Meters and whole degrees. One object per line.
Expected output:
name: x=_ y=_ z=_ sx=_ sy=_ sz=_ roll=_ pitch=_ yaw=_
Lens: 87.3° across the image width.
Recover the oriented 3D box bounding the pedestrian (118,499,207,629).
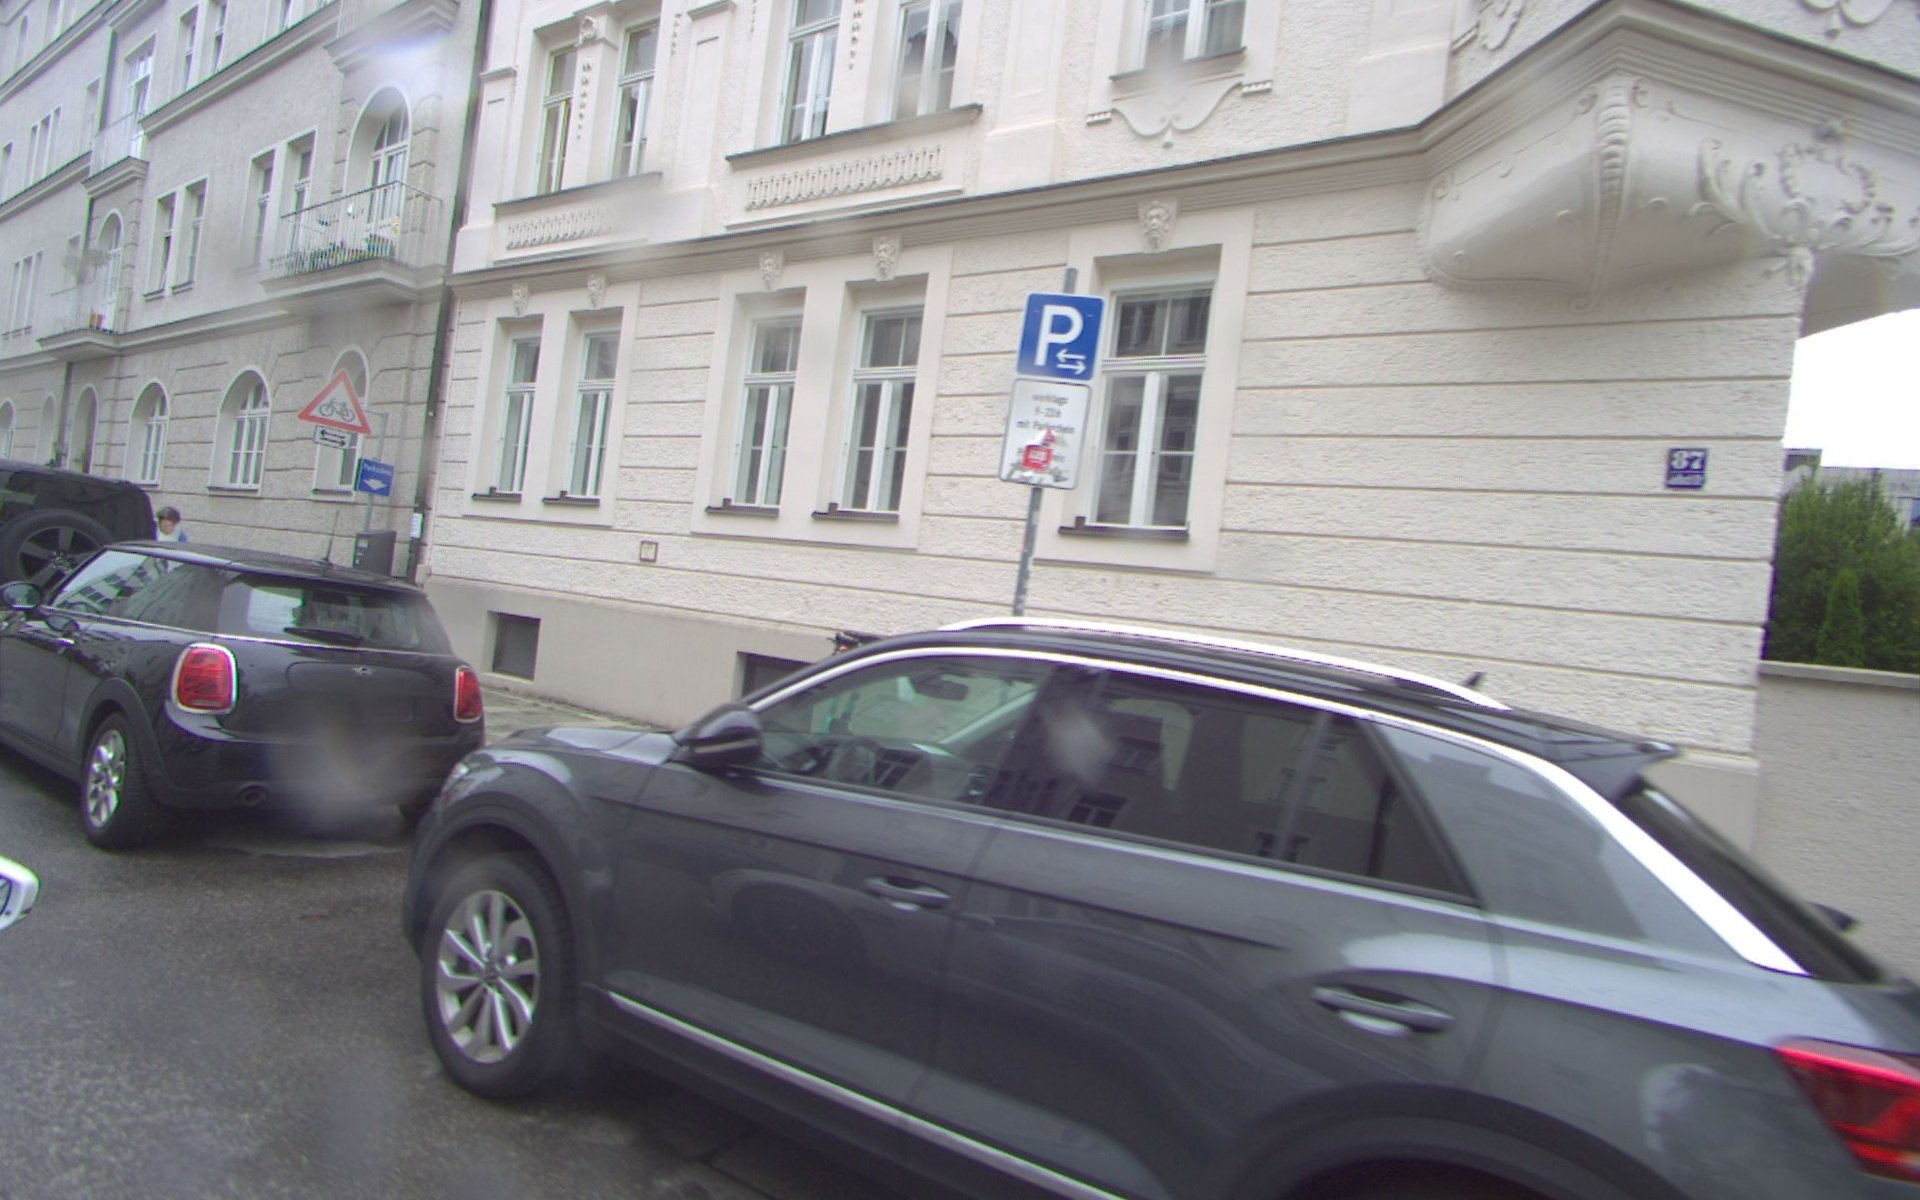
pedestrian: x=-10.931 y=-0.486 z=13.796 sx=0.643 sy=1.696 sz=0.680 roll=7 pitch=2 yaw=30

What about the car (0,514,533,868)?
car: x=-4.394 y=0.391 z=5.972 sx=3.525 sy=1.411 sz=1.666 roll=6 pitch=-3 yaw=35

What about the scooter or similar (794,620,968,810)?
scooter or similar: x=-0.661 y=0.882 z=8.131 sx=1.332 sy=1.304 sz=0.505 roll=6 pitch=2 yaw=41

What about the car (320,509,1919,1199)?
car: x=0.147 y=0.793 z=2.963 sx=3.933 sy=1.605 sz=1.711 roll=7 pitch=-2 yaw=31

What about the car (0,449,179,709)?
car: x=-9.117 y=-0.368 z=8.868 sx=4.637 sy=1.905 sz=1.915 roll=6 pitch=-3 yaw=33

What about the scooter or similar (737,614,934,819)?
scooter or similar: x=-0.982 y=0.837 z=7.698 sx=1.482 sy=1.304 sz=0.539 roll=6 pitch=2 yaw=41
